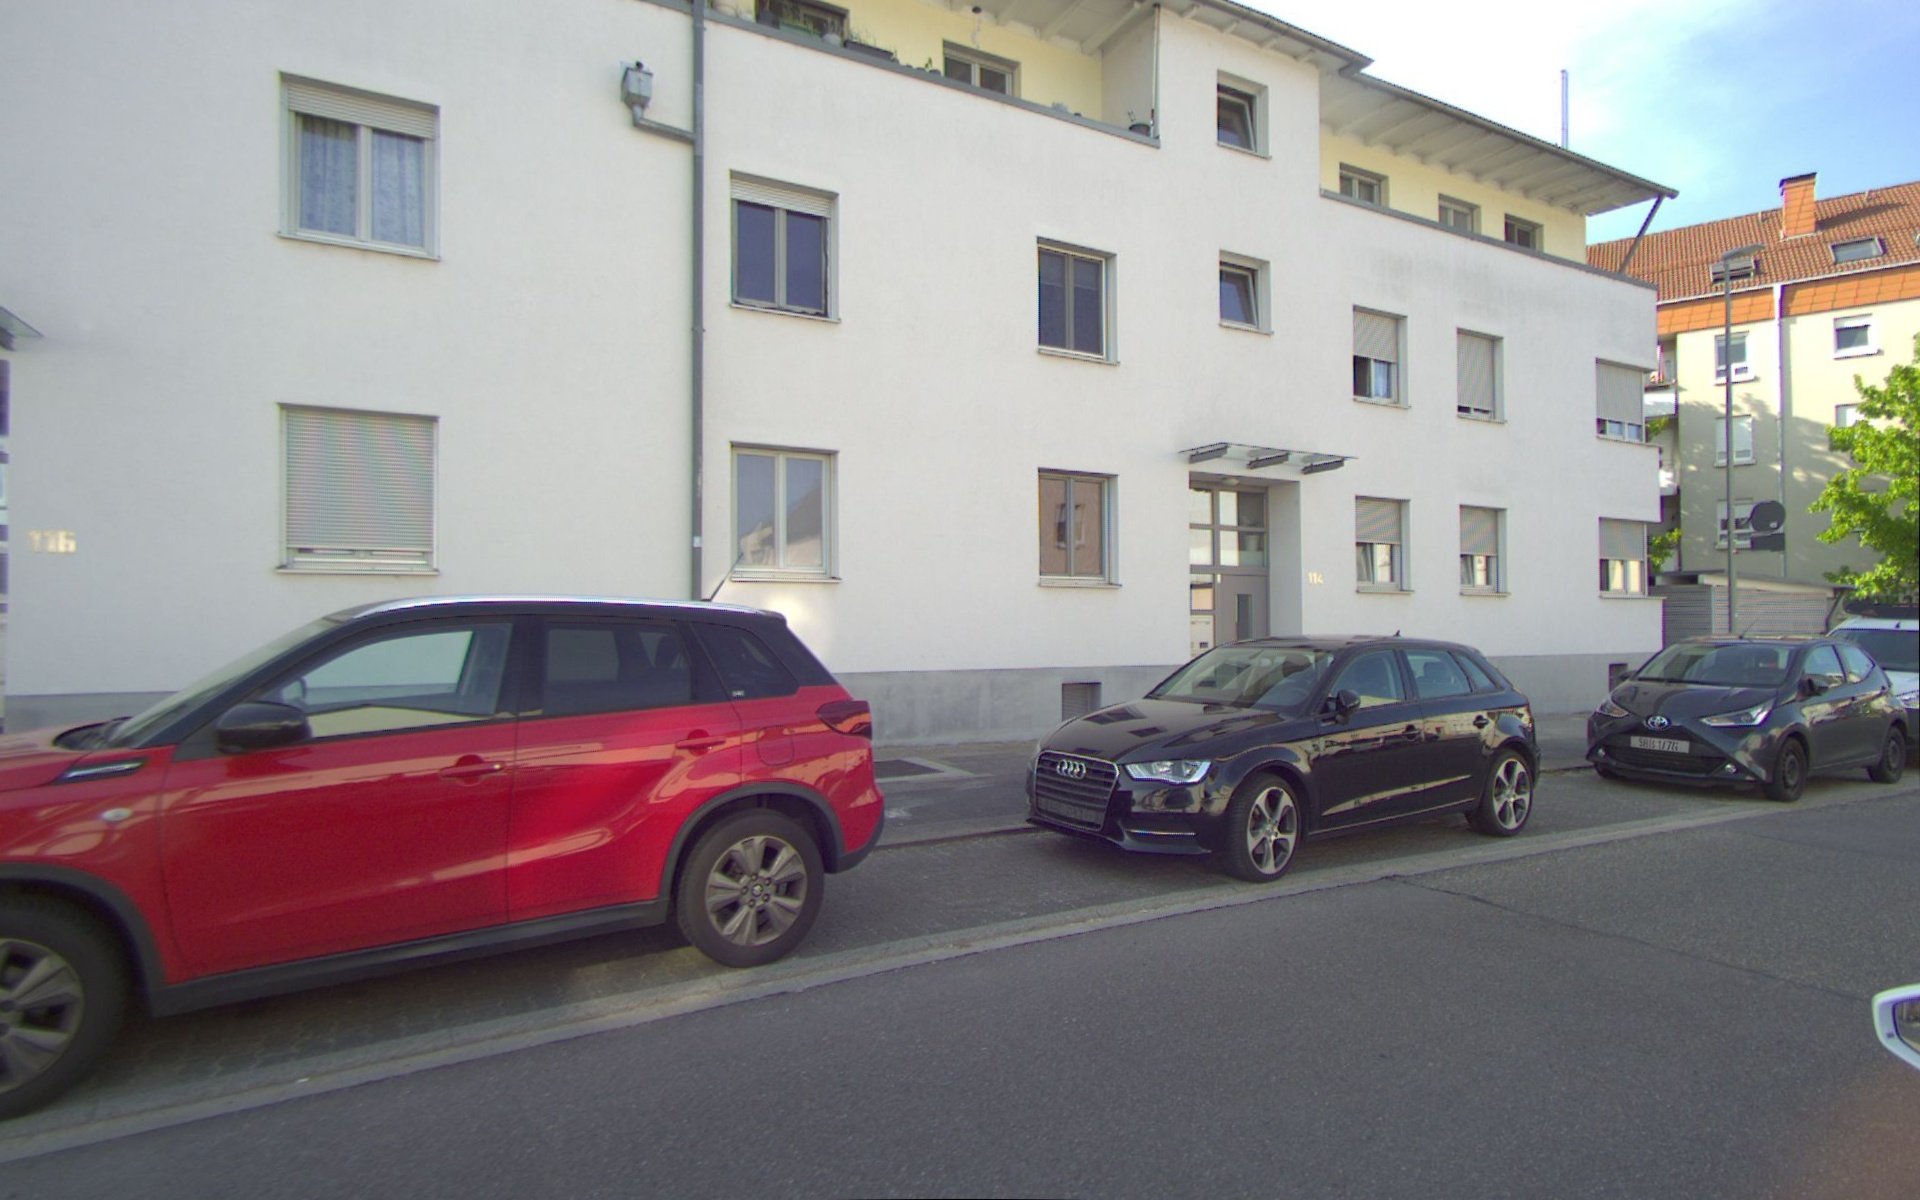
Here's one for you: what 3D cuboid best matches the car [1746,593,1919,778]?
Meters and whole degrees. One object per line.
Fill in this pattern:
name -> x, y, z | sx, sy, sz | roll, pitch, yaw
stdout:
car -> 11.869, 0.948, 12.474 | 4.383, 1.986, 1.720 | 1, -1, -28

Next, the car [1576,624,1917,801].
car -> 7.864, 0.986, 10.000 | 3.472, 1.484, 1.486 | 1, -1, -30

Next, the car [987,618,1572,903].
car -> 2.405, 0.881, 7.171 | 4.217, 1.497, 1.717 | 1, -1, -33

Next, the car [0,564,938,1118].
car -> -2.333, 0.745, 4.353 | 4.217, 1.643, 1.718 | 0, -2, -33

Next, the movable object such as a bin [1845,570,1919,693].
movable object such as a bin -> 24.556, 0.750, 23.568 | 2.094, 2.939, 5.453 | 0, -1, -39
